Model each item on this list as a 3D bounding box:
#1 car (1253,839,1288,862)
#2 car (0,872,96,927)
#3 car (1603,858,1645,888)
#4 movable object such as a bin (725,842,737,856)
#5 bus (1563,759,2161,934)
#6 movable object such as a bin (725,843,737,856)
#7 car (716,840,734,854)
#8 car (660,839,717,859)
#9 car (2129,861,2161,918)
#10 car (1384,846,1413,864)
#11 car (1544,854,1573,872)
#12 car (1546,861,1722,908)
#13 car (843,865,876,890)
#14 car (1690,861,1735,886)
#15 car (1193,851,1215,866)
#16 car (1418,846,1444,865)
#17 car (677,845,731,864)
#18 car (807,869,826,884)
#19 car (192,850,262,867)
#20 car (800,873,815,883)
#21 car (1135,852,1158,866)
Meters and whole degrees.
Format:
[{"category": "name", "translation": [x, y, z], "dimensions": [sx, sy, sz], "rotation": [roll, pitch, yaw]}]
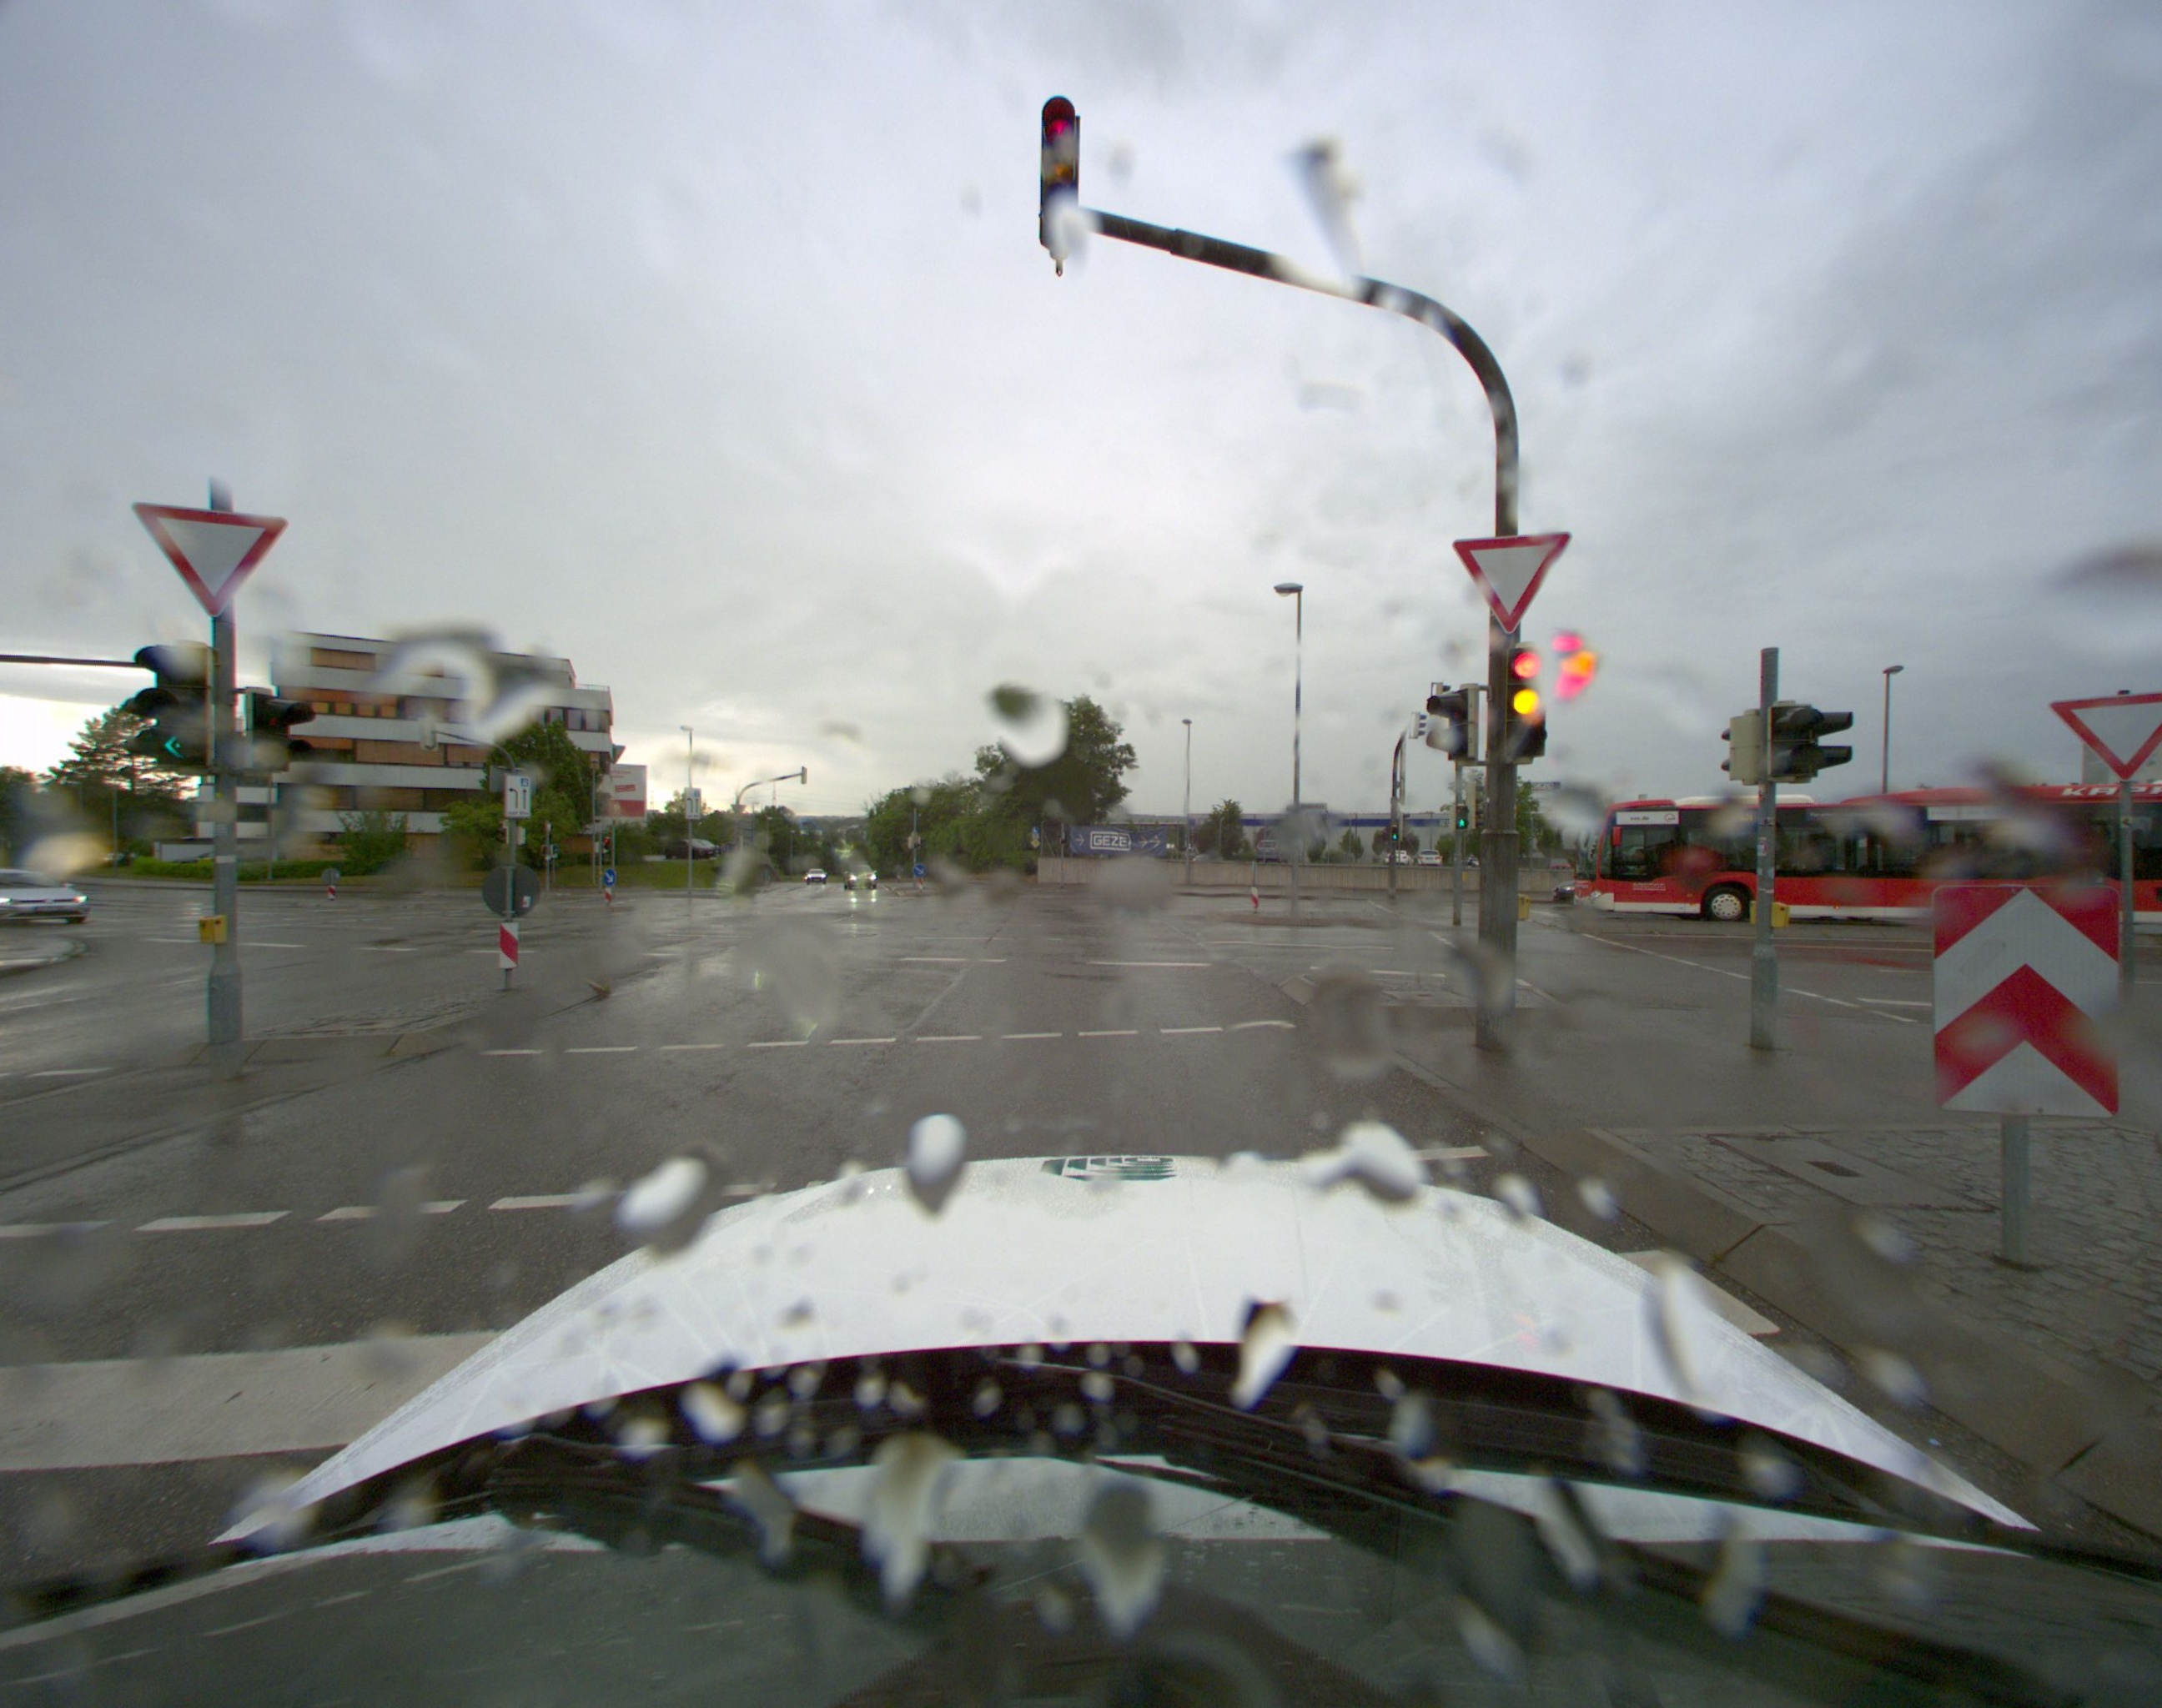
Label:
[{"category": "car", "translation": [13.356, -0.229, 57.284], "dimensions": [1.727, 1.553, 3.550], "rotation": [-1, -1, 23]}, {"category": "car", "translation": [-28.844, 1.179, 21.785], "dimensions": [4.479, 1.363, 1.771], "rotation": [-1, -1, 20]}, {"category": "car", "translation": [38.107, 1.289, 57.249], "dimensions": [1.727, 2.014, 3.844], "rotation": [-1, -1, 23]}, {"category": "movable object such as a bin", "translation": [-37.754, -0.495, 87.908], "dimensions": [1.089, 1.437, 1.434], "rotation": [1, -3, -25]}, {"category": "bus", "translation": [18.709, -0.256, 19.312], "dimensions": [12.152, 3.576, 3.001], "rotation": [2, 0, 19]}, {"category": "movable object such as a bin", "translation": [-38.368, -0.479, 89.241], "dimensions": [1.089, 1.437, 1.434], "rotation": [1, -3, -25]}, {"category": "car", "translation": [-42.573, -0.830, 97.429], "dimensions": [1.836, 1.442, 3.967], "rotation": [1, -2, -25]}, {"category": "car", "translation": [-33.423, -0.411, 69.353], "dimensions": [3.962, 1.586, 1.907], "rotation": [0, -2, 10]}, {"category": "car", "translation": [31.498, 0.970, 21.558], "dimensions": [4.344, 1.538, 1.834], "rotation": [0, 0, 18]}, {"category": "car", "translation": [26.477, 0.126, 67.883], "dimensions": [1.800, 1.434, 4.128], "rotation": [-1, -1, 28]}, {"category": "car", "translation": [42.460, 0.782, 72.440], "dimensions": [1.905, 1.589, 3.811], "rotation": [0, 0, 25]}, {"category": "car", "translation": [17.596, 0.936, 26.147], "dimensions": [4.344, 1.354, 1.834], "rotation": [0, 0, 18]}, {"category": "car", "translation": [-13.912, 1.472, 51.002], "dimensions": [1.667, 1.494, 3.972], "rotation": [0, -1, -21]}, {"category": "car", "translation": [52.397, 1.593, 67.634], "dimensions": [1.976, 2.014, 4.022], "rotation": [-1, -1, 24]}, {"category": "car", "translation": [13.957, 0.531, 92.447], "dimensions": [1.651, 1.606, 3.550], "rotation": [-1, -1, 23]}, {"category": "car", "translation": [28.904, 0.148, 67.193], "dimensions": [1.841, 1.526, 4.127], "rotation": [-1, -1, 25]}, {"category": "car", "translation": [-33.325, 0.049, 71.947], "dimensions": [3.958, 1.586, 1.909], "rotation": [0, -2, 14]}, {"category": "car", "translation": [-26.767, 2.234, 82.501], "dimensions": [1.723, 1.494, 3.978], "rotation": [0, -1, -16]}, {"category": "car", "translation": [-70.170, 0.365, 66.981], "dimensions": [3.779, 1.399, 1.977], "rotation": [0, 0, -40]}, {"category": "car", "translation": [-41.402, 3.613, 123.292], "dimensions": [1.902, 1.456, 3.979], "rotation": [0, 0, -15]}, {"category": "car", "translation": [7.773, 0.606, 95.901], "dimensions": [1.651, 1.606, 3.550], "rotation": [-1, -1, 23]}]
